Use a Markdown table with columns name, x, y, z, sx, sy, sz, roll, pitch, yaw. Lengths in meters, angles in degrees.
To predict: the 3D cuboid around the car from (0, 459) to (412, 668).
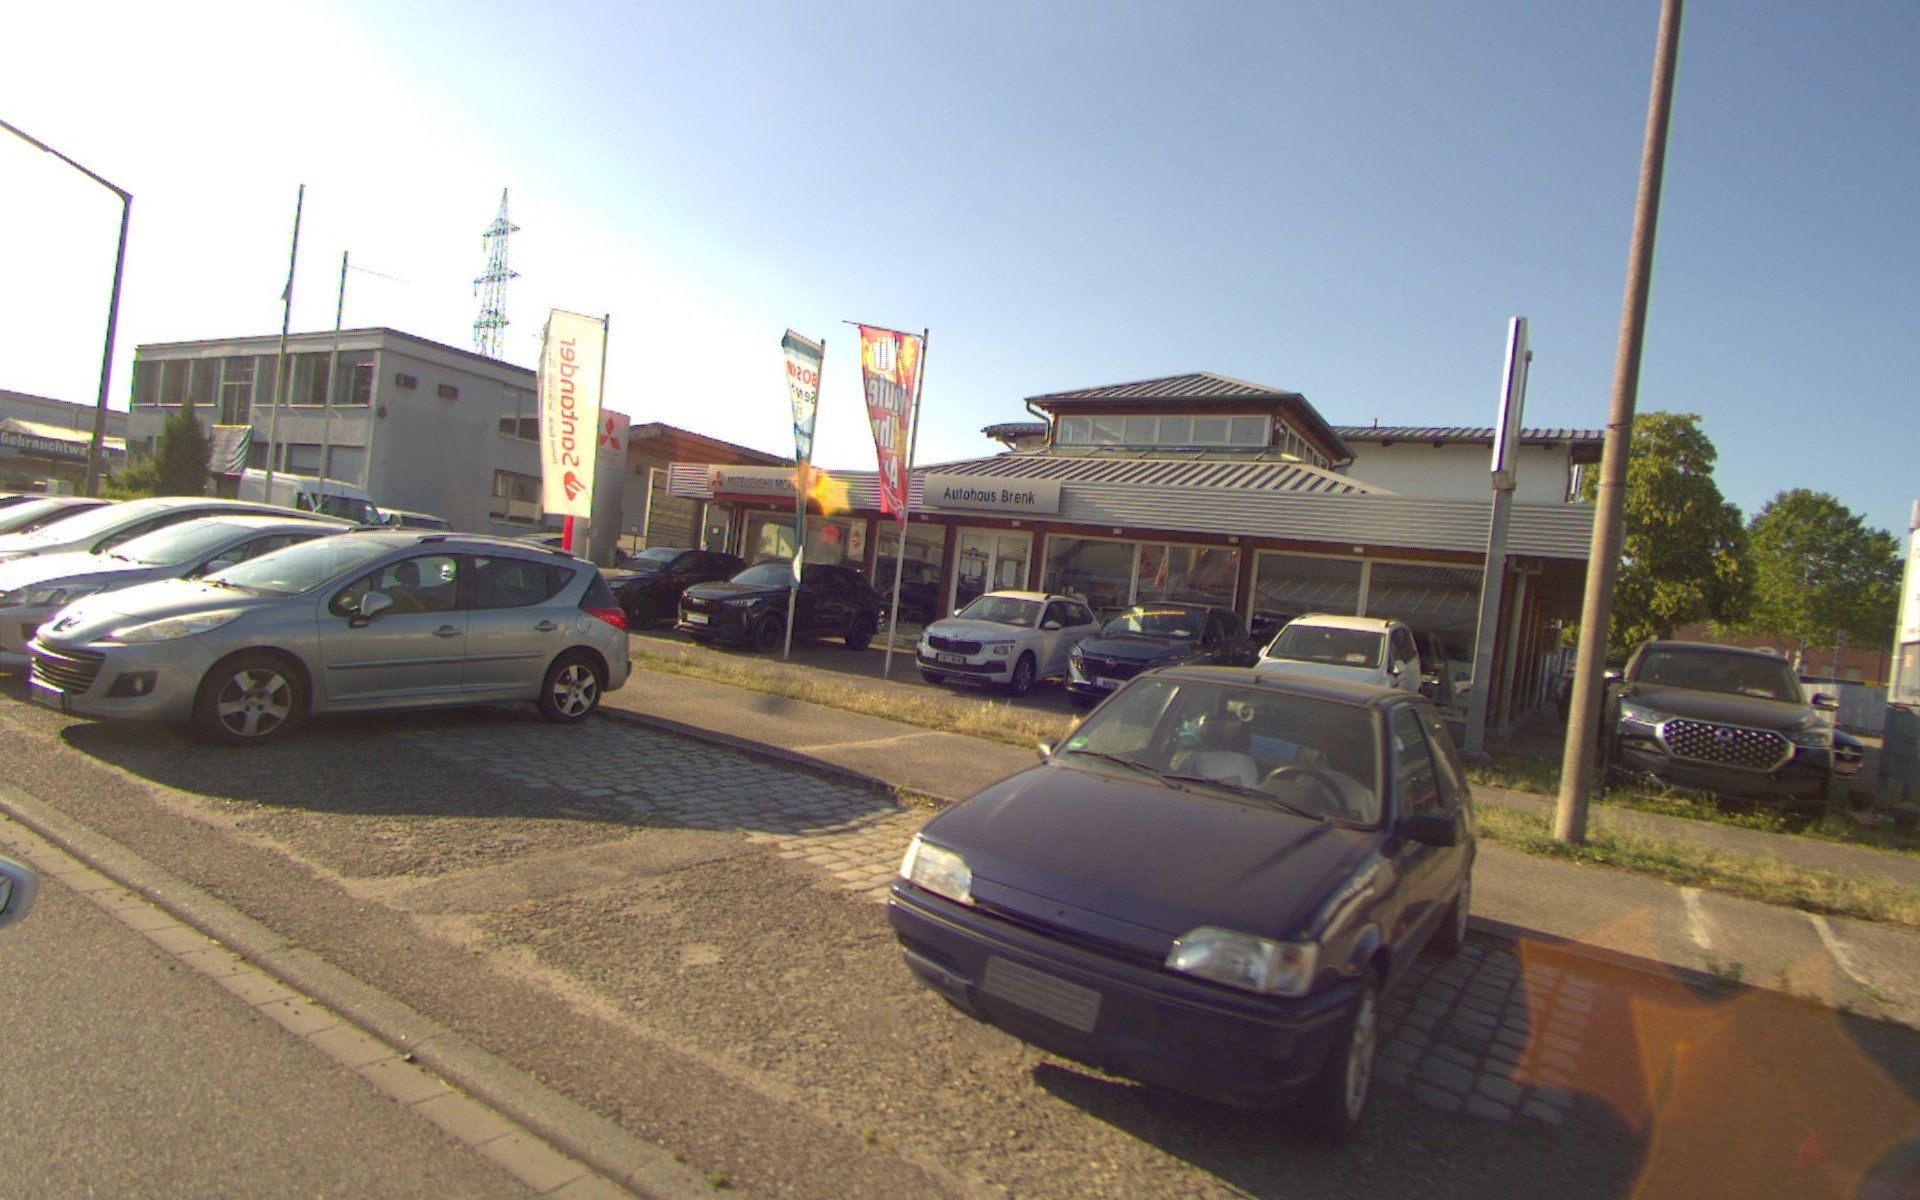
| name | x | y | z | sx | sy | sz | roll | pitch | yaw |
| --- | --- | --- | --- | --- | --- | --- | --- | --- | --- |
| car | -8.574 | -0.306 | 10.949 | 1.851 | 1.760 | 4.119 | 7 | -2 | 28 |

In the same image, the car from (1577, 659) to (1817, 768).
| name | x | y | z | sx | sy | sz | roll | pitch | yaw |
| --- | --- | --- | --- | --- | --- | --- | --- | --- | --- |
| car | 14.588 | 2.190 | 20.180 | 1.708 | 1.652 | 3.573 | 7 | -1 | -10 |

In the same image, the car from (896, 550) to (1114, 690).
| name | x | y | z | sx | sy | sz | roll | pitch | yaw |
| --- | --- | --- | --- | --- | --- | --- | --- | --- | --- |
| car | 0.866 | 0.404 | 16.302 | 1.757 | 1.921 | 3.907 | 4 | -2 | 31 |

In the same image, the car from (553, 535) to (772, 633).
| name | x | y | z | sx | sy | sz | roll | pitch | yaw |
| --- | --- | --- | --- | --- | --- | --- | --- | --- | --- |
| car | -6.065 | -0.269 | 20.957 | 1.967 | 1.681 | 3.988 | 6 | 1 | 32 |

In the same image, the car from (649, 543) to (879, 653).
| name | x | y | z | sx | sy | sz | roll | pitch | yaw |
| --- | --- | --- | --- | --- | --- | --- | --- | --- | --- |
| car | -3.568 | 0.014 | 19.001 | 1.967 | 1.719 | 3.988 | 6 | 1 | 32 |

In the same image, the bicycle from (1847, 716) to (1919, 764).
| name | x | y | z | sx | sy | sz | roll | pitch | yaw |
| --- | --- | --- | --- | --- | --- | --- | --- | --- | --- |
| bicycle | 21.695 | 3.237 | 23.246 | 1.189 | 0.932 | 3.302 | 6 | -2 | 32 |

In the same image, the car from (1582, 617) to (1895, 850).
| name | x | y | z | sx | sy | sz | roll | pitch | yaw |
| --- | --- | --- | --- | --- | --- | --- | --- | --- | --- |
| car | 8.656 | 1.429 | 11.685 | 2.165 | 1.921 | 4.503 | 6 | -2 | 31 |

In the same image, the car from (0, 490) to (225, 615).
| name | x | y | z | sx | sy | sz | roll | pitch | yaw |
| --- | --- | --- | --- | --- | --- | --- | --- | --- | --- |
| car | -12.583 | -0.700 | 13.038 | 2.100 | 1.454 | 4.439 | 7 | 1 | 31 |

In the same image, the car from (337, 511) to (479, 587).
| name | x | y | z | sx | sy | sz | roll | pitch | yaw |
| --- | --- | --- | --- | --- | --- | --- | --- | --- | --- |
| car | -16.937 | -1.583 | 30.844 | 3.934 | 1.820 | 1.997 | 6 | -1 | 32 |

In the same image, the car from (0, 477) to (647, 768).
| name | x | y | z | sx | sy | sz | roll | pitch | yaw |
| --- | --- | --- | --- | --- | --- | --- | --- | --- | --- |
| car | -4.688 | 0.151 | 7.950 | 1.835 | 1.608 | 3.992 | 7 | 1 | 28 |

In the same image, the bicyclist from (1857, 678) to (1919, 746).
| name | x | y | z | sx | sy | sz | roll | pitch | yaw |
| --- | --- | --- | --- | --- | --- | --- | --- | --- | --- |
| bicyclist | 21.894 | 2.616 | 23.451 | 1.152 | 1.424 | 1.158 | 7 | -1 | 32 |

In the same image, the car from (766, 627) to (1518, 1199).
| name | x | y | z | sx | sy | sz | roll | pitch | yaw |
| --- | --- | --- | --- | --- | --- | --- | --- | --- | --- |
| car | 1.237 | 0.919 | 4.515 | 1.755 | 1.313 | 3.986 | 7 | 1 | 34 |

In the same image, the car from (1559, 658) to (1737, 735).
| name | x | y | z | sx | sy | sz | roll | pitch | yaw |
| --- | --- | --- | --- | --- | --- | --- | --- | --- | --- |
| car | 21.123 | 2.928 | 31.033 | 1.980 | 1.758 | 3.968 | 8 | -1 | -31 |

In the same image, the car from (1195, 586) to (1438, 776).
| name | x | y | z | sx | sy | sz | roll | pitch | yaw |
| --- | --- | --- | --- | --- | --- | --- | --- | --- | --- |
| car | 5.035 | 1.079 | 13.851 | 2.165 | 1.922 | 3.939 | 10 | 1 | 31 |

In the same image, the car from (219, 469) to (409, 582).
| name | x | y | z | sx | sy | sz | roll | pitch | yaw |
| --- | --- | --- | --- | --- | --- | --- | --- | --- | --- |
| car | -18.740 | -2.185 | 29.062 | 6.036 | 2.656 | 1.997 | 6 | -1 | 32 |

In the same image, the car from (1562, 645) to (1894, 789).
| name | x | y | z | sx | sy | sz | roll | pitch | yaw |
| --- | --- | --- | --- | --- | --- | --- | --- | --- | --- |
| car | 12.450 | 1.818 | 16.698 | 1.966 | 1.758 | 3.996 | 7 | -1 | -9 |

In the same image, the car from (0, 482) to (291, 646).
| name | x | y | z | sx | sy | sz | roll | pitch | yaw |
| --- | --- | --- | --- | --- | --- | --- | --- | --- | --- |
| car | -10.670 | -0.463 | 11.839 | 1.715 | 1.624 | 4.253 | 7 | -2 | 27 |

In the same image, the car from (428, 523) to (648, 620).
| name | x | y | z | sx | sy | sz | roll | pitch | yaw |
| --- | --- | --- | --- | --- | --- | --- | --- | --- | --- |
| car | -9.450 | -0.576 | 22.842 | 1.967 | 1.794 | 4.145 | 6 | 1 | 32 |

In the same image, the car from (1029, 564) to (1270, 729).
| name | x | y | z | sx | sy | sz | roll | pitch | yaw |
| --- | --- | --- | --- | --- | --- | --- | --- | --- | --- |
| car | 2.952 | 0.593 | 15.041 | 2.165 | 1.925 | 3.798 | 8 | 4 | 31 |

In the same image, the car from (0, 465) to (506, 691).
| name | x | y | z | sx | sy | sz | roll | pitch | yaw |
| --- | --- | --- | --- | --- | --- | --- | --- | --- | --- |
| car | -6.849 | -0.144 | 9.593 | 2.023 | 1.638 | 4.116 | 7 | 0 | 28 |
